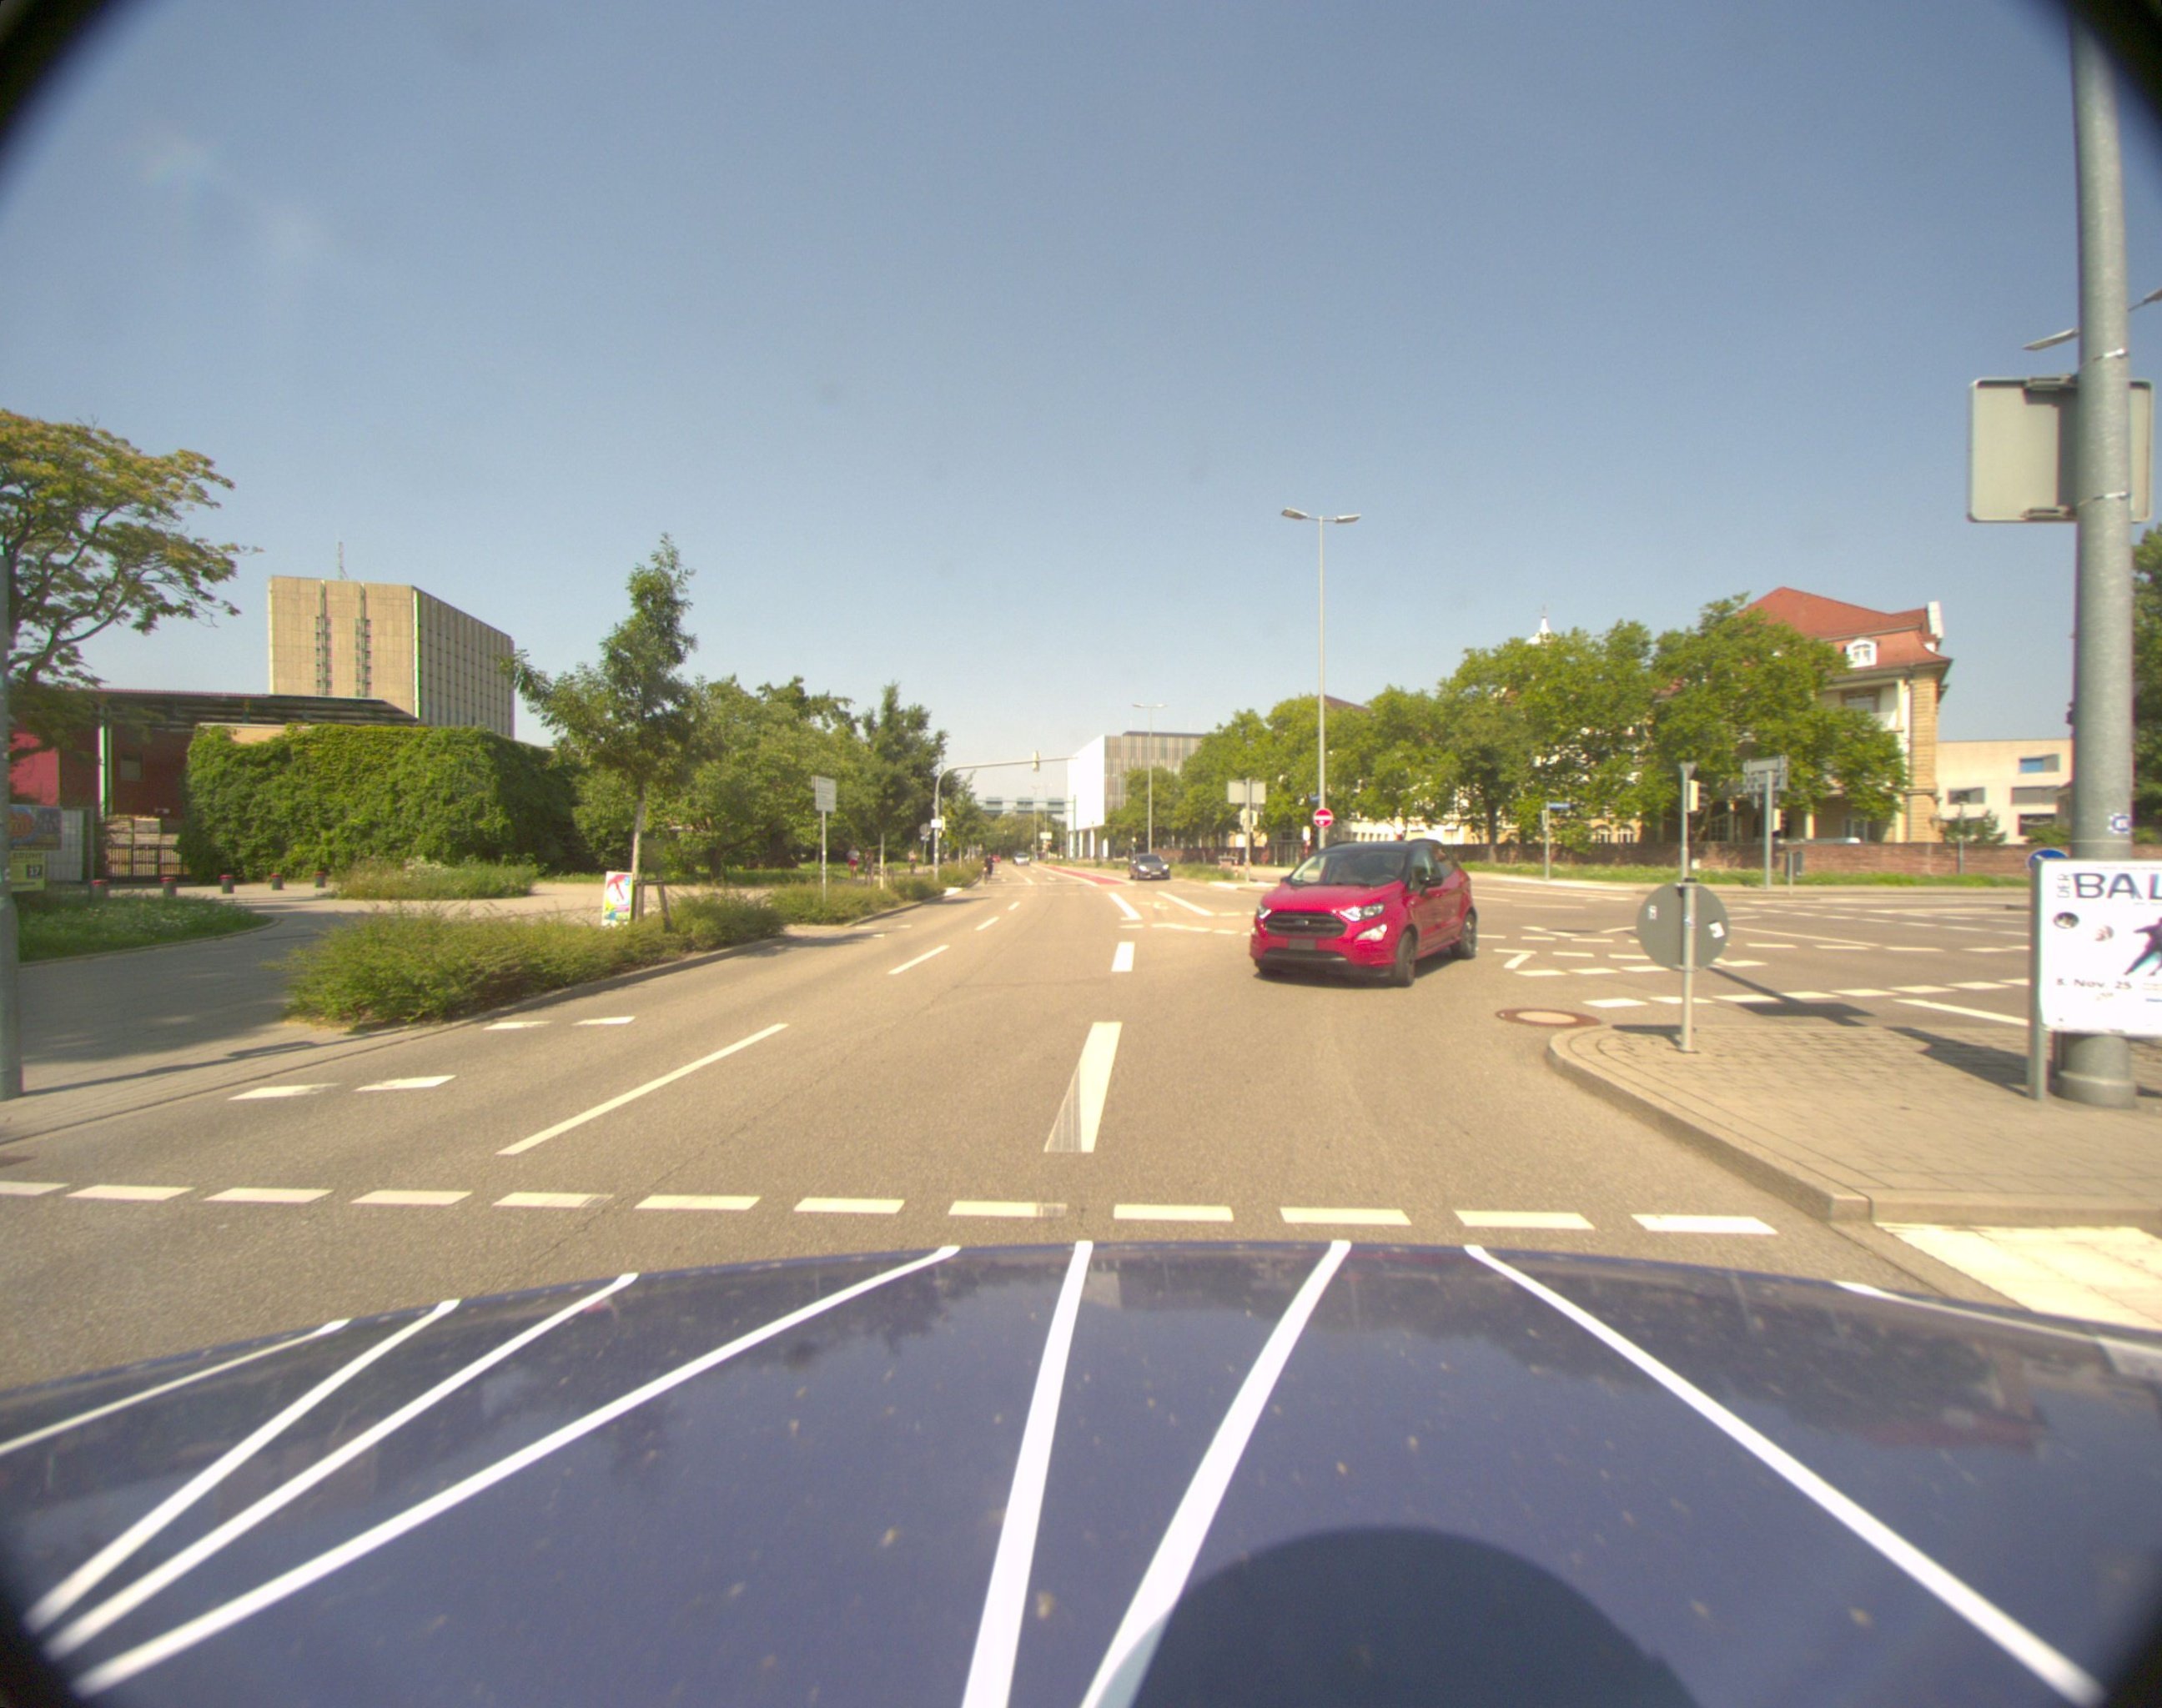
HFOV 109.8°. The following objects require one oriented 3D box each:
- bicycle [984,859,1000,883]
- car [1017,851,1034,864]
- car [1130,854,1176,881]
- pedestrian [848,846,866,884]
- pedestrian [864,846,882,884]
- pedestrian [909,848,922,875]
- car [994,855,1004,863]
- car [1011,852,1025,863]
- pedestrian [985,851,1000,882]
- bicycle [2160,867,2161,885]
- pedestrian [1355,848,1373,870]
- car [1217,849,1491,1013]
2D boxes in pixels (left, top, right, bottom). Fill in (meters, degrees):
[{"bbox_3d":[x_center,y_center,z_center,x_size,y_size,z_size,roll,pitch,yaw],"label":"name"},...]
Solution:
[{"bbox_3d":[-4.707,0.900,40.381,0.786,1.205,1.788,0,0,-6],"label":"bicycle"},{"bbox_3d":[-7.213,0.465,98.105,2.000,1.669,3.997,0,0,-6],"label":"car"},{"bbox_3d":[3.839,0.697,41.261,1.791,1.349,3.422,-2,0,-7],"label":"car"},{"bbox_3d":[-10.356,0.513,35.067,0.694,1.761,0.587,0,1,-5],"label":"pedestrian"},{"bbox_3d":[-9.646,0.505,35.207,0.694,1.761,0.587,0,1,-5],"label":"pedestrian"},{"bbox_3d":[-11.187,0.508,51.444,0.793,1.758,0.826,0,1,-6],"label":"pedestrian"},{"bbox_3d":[-17.419,1.033,160.940,2.000,1.769,3.997,0,0,-6],"label":"car"},{"bbox_3d":[-9.771,0.522,117.267,2.000,1.769,3.997,0,0,-6],"label":"car"},{"bbox_3d":[-4.694,0.666,40.332,0.780,1.659,0.548,0,1,-6],"label":"pedestrian"},{"bbox_3d":[49.548,0.985,34.291,1.486,0.807,0.437,0,1,-12],"label":"bicycle"},{"bbox_3d":[26.870,0.467,72.171,1.074,2.002,1.232,0,1,-29],"label":"pedestrian"},{"bbox_3d":[3.586,0.785,9.529,1.840,1.605,4.009,-2,-1,42],"label":"car"}]
